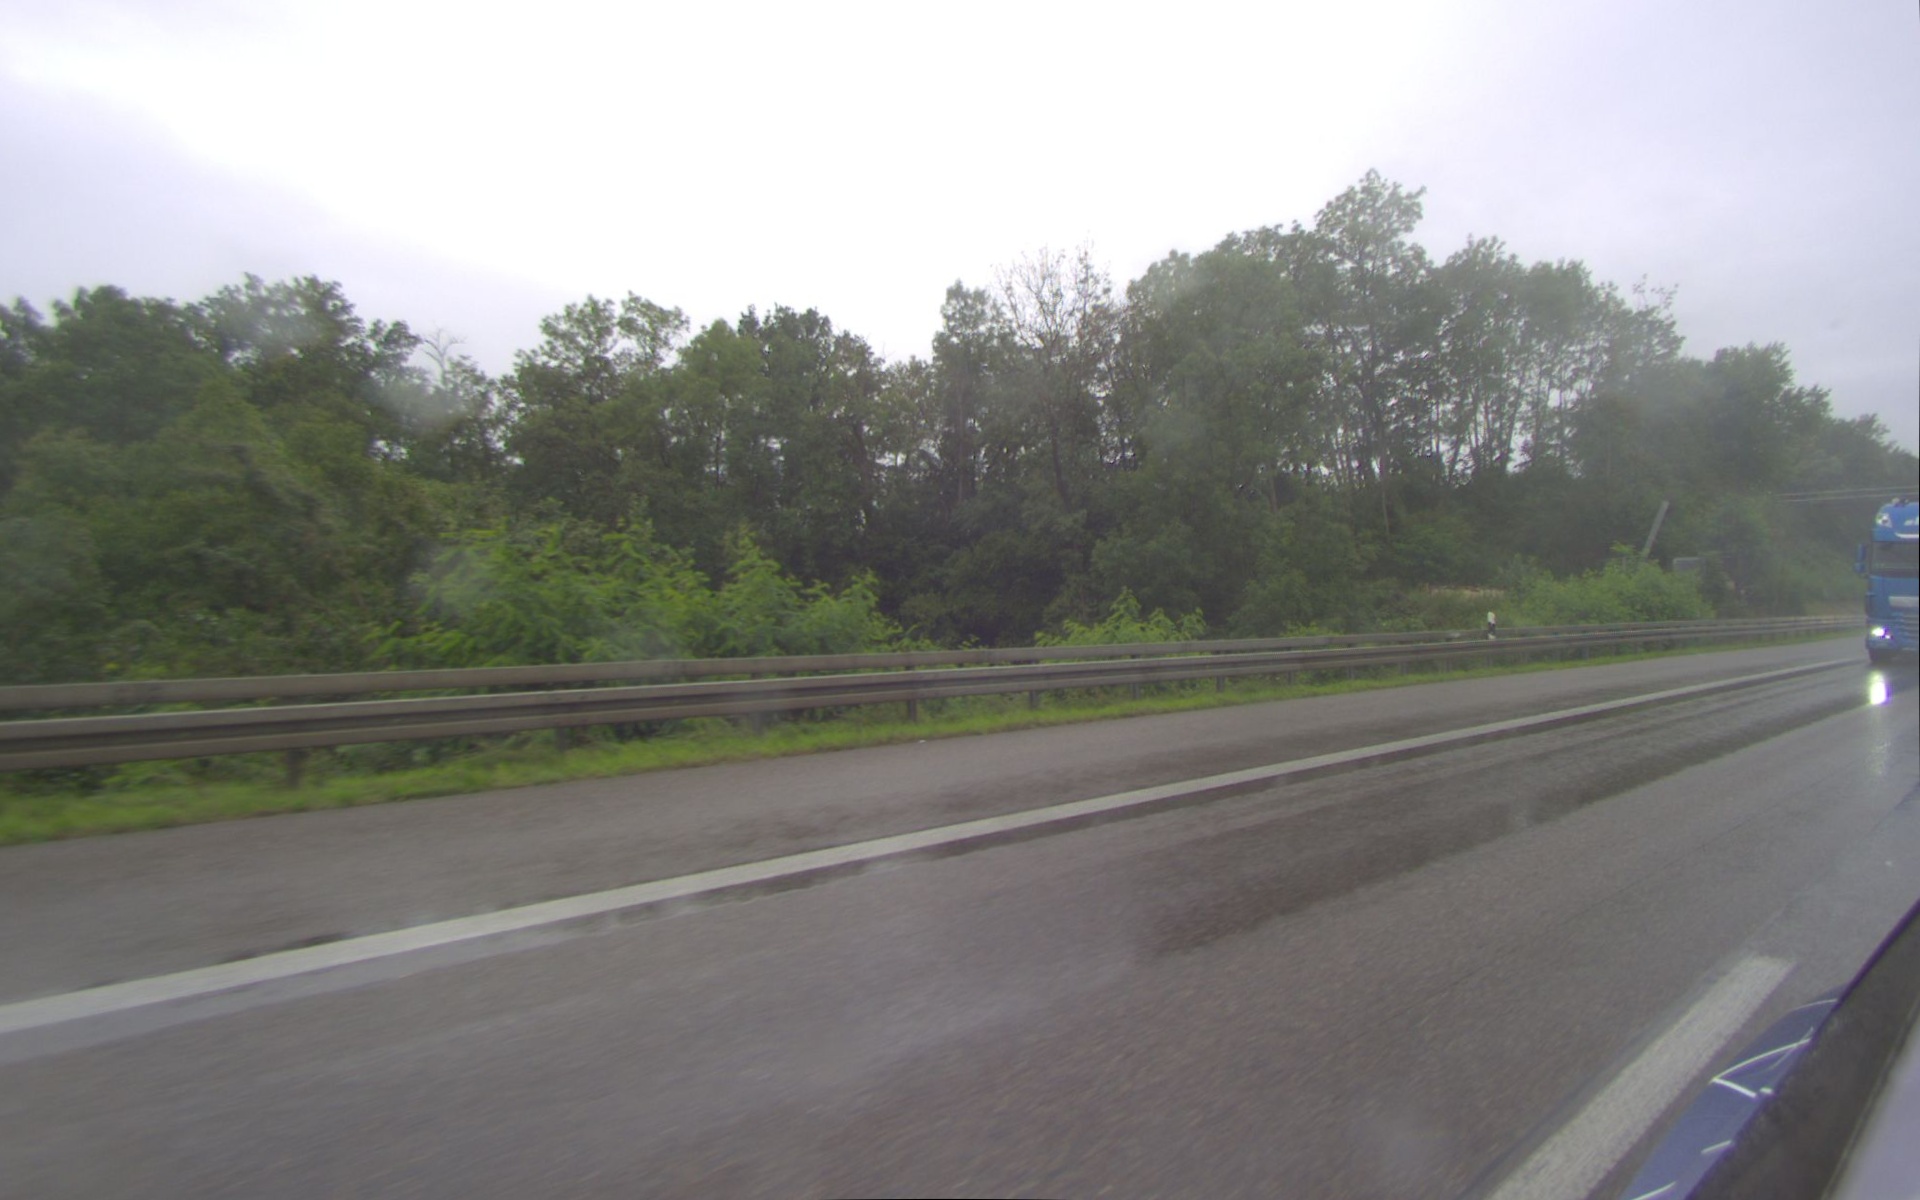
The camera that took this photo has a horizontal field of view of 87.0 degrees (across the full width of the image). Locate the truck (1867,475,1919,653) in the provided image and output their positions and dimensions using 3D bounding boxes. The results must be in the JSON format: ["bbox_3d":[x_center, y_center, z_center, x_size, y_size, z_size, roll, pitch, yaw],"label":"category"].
[{"bbox_3d":[25.079,-0.862,25.231,6.367,4.129,2.754,-1,1,-40],"label":"truck"}]

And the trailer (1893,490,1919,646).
[{"bbox_3d":[30.502,-0.881,29.789,13.879,4.014,2.749,-1,0,-40],"label":"trailer"}]
